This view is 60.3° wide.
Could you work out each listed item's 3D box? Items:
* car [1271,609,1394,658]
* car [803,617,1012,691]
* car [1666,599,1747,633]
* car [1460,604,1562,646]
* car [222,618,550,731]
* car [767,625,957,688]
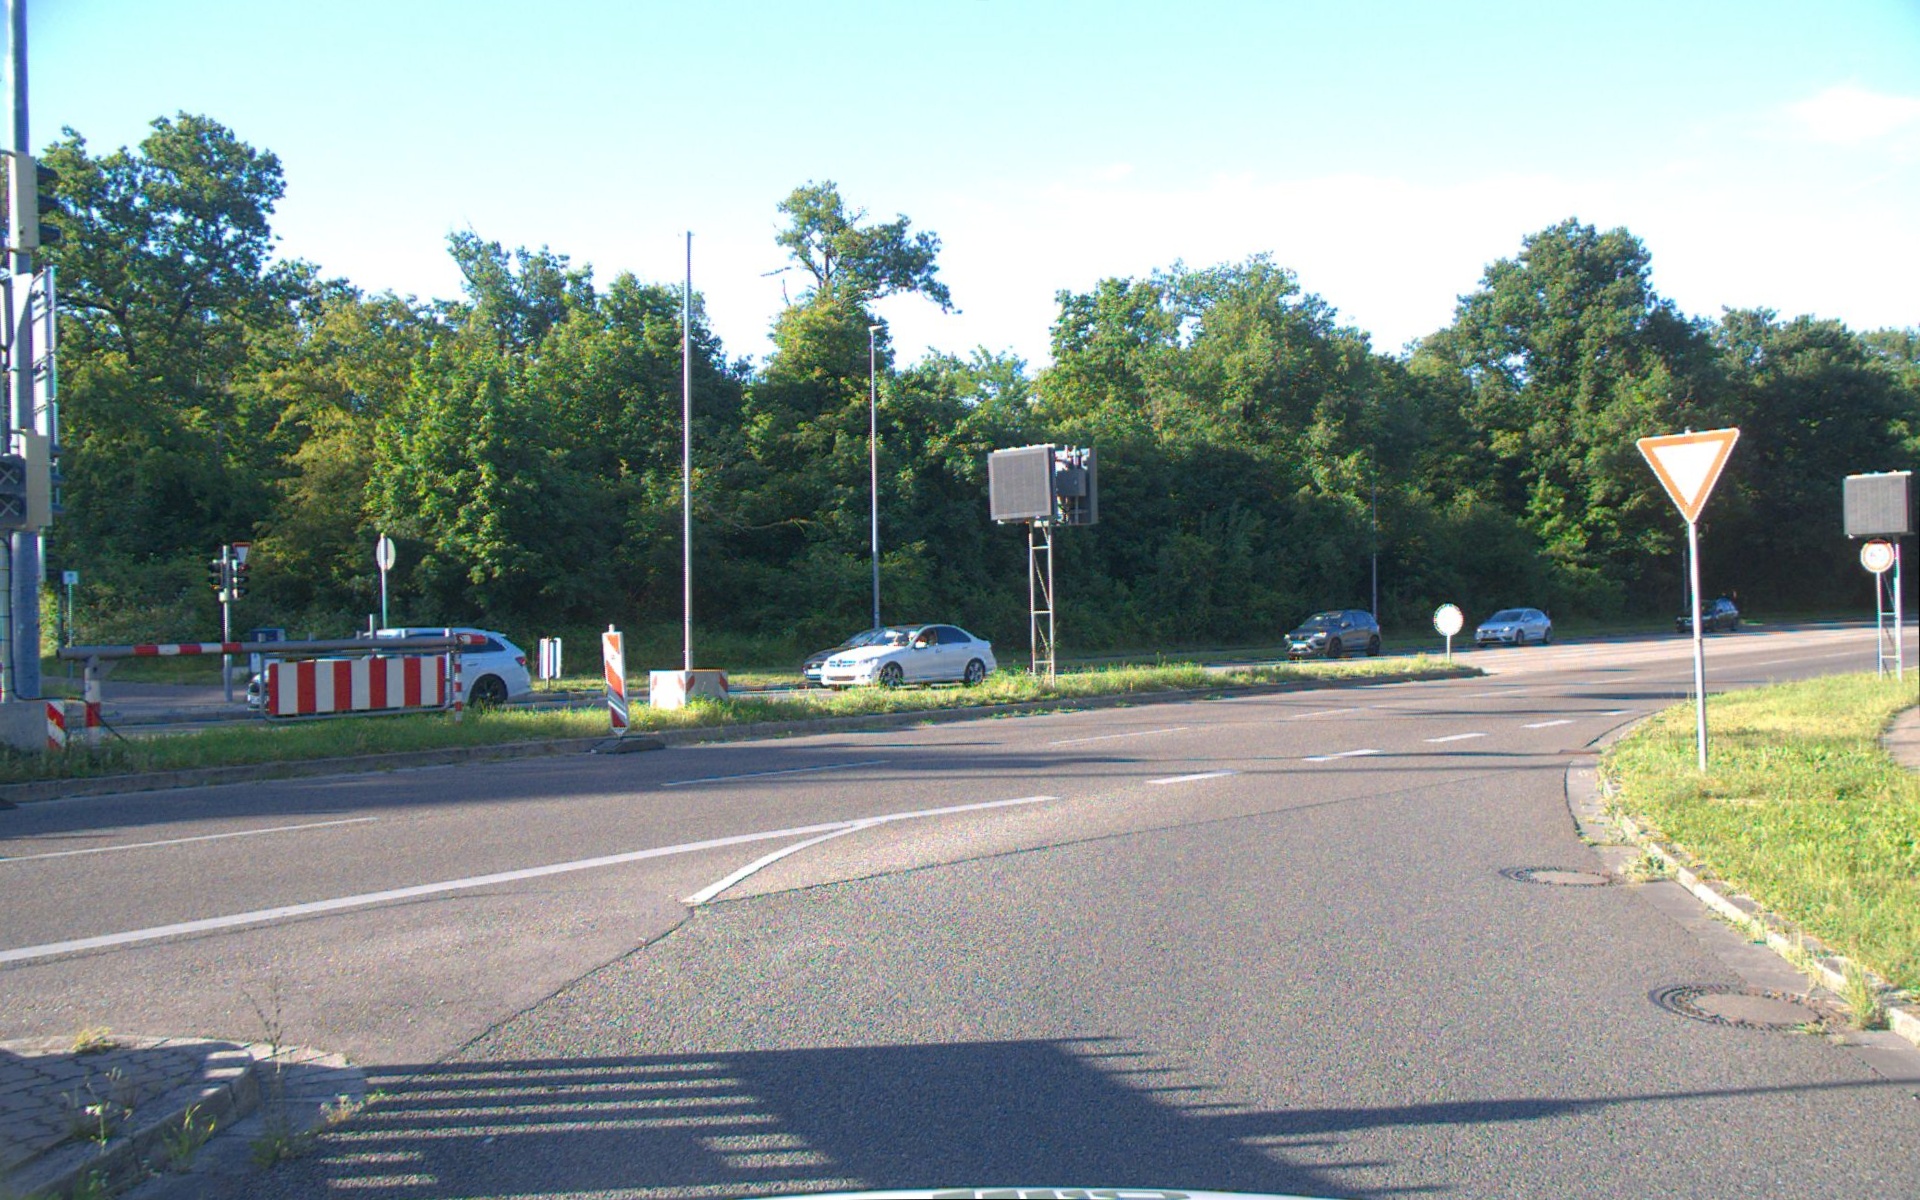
[{"bbox_3d":[12.766,1.117,56.523,1.966,1.556,4.619,-2,-1,44],"label":"car"},{"bbox_3d":[-1.102,1.156,36.781,1.963,1.461,4.781,-2,-1,40],"label":"car"},{"bbox_3d":[36.020,0.773,79.757,4.616,1.556,1.968,-1,-1,-44],"label":"car"},{"bbox_3d":[22.192,0.998,66.543,4.615,1.556,1.968,-1,-1,-44],"label":"car"},{"bbox_3d":[-9.339,1.158,27.256,1.962,1.608,4.809,-2,-1,39],"label":"car"},{"bbox_3d":[-2.380,1.370,41.158,1.966,1.408,4.619,-2,-1,44],"label":"car"}]
